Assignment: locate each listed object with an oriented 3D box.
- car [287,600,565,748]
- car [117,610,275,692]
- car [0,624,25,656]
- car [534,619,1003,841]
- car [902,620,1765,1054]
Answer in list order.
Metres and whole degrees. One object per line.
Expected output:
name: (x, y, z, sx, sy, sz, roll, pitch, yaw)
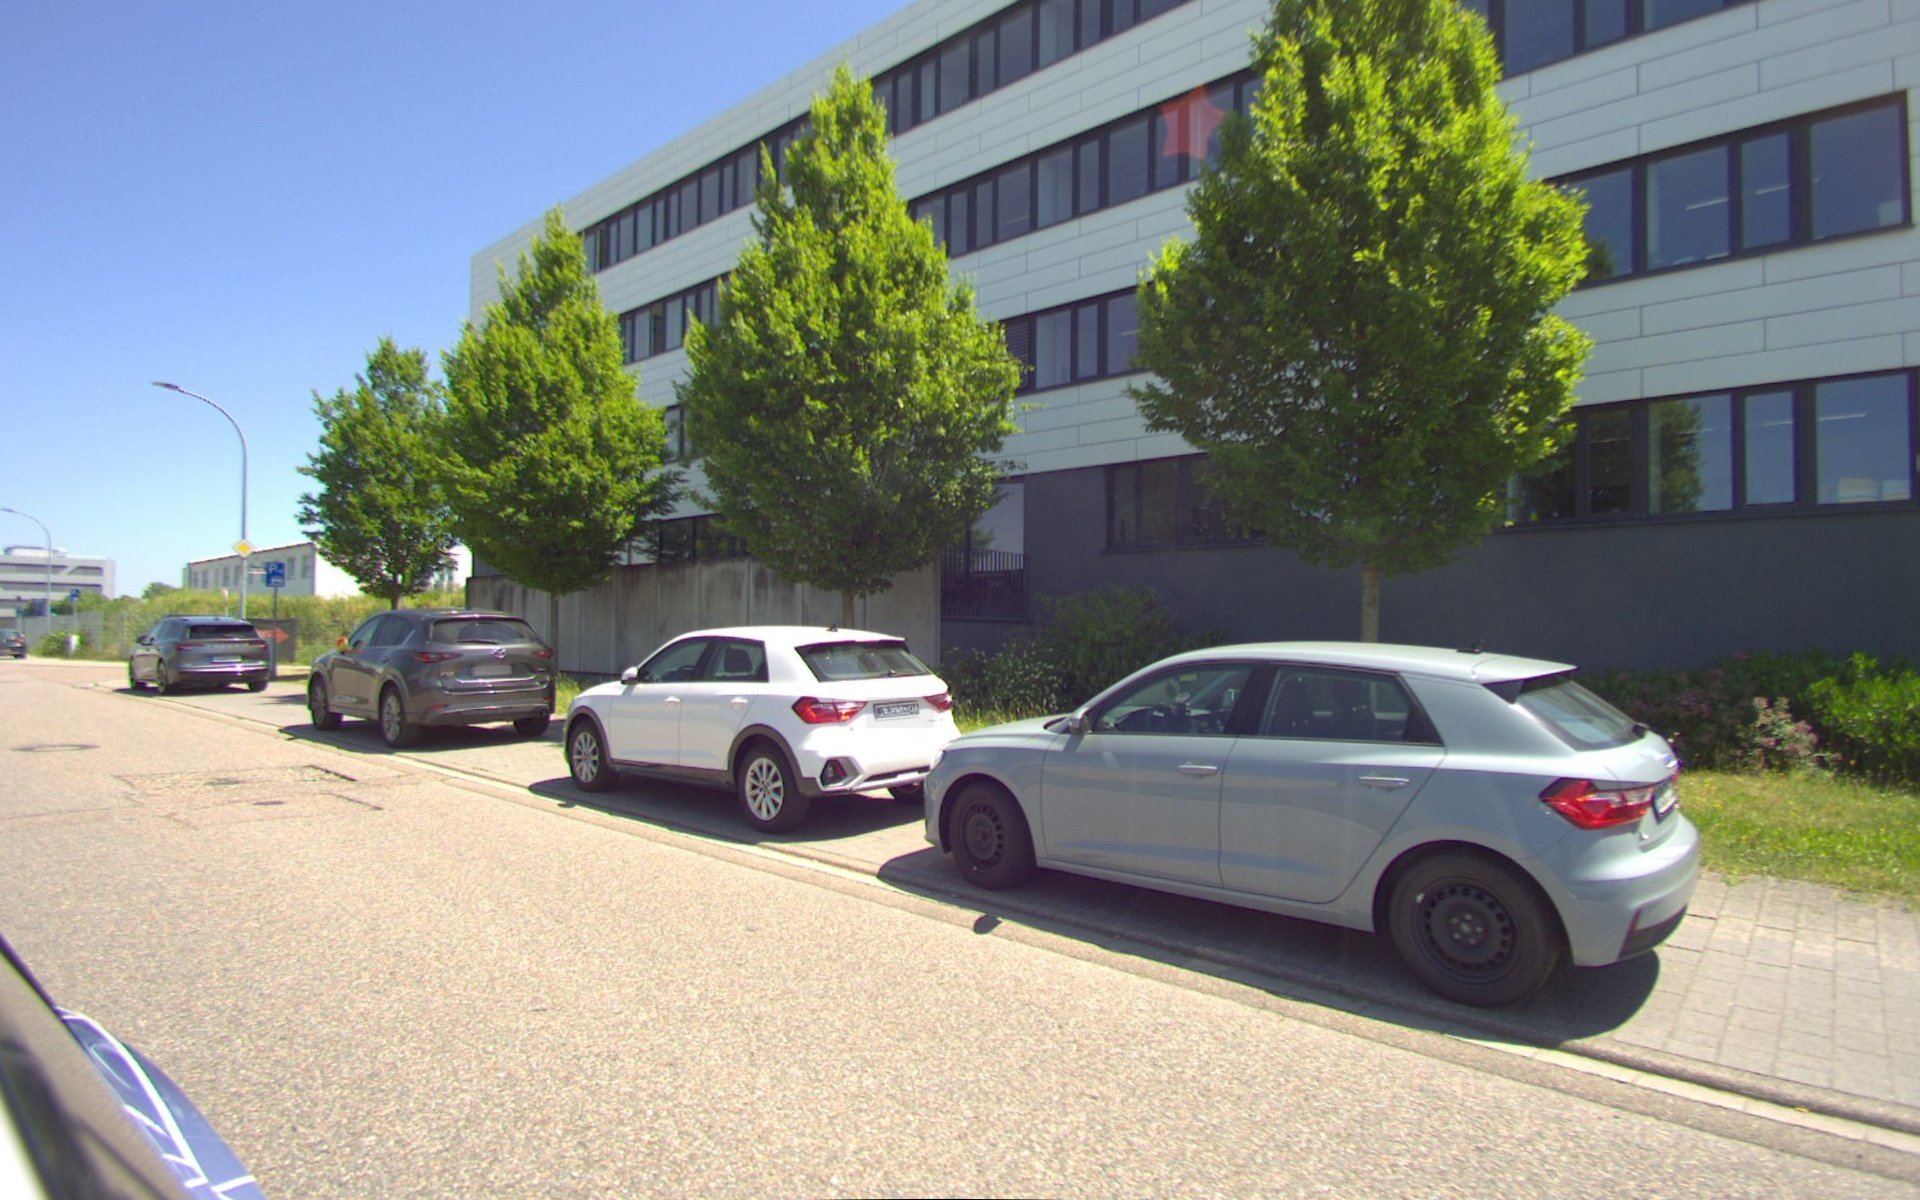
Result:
car: (-7.174, 0.863, 13.383, 4.580, 1.636, 1.752, -1, -2, 42)
car: (-16.671, 1.068, 22.014, 4.477, 1.600, 1.753, -2, -2, 40)
car: (-46.024, 1.891, 48.289, 4.067, 1.461, 1.656, -1, -2, 42)
car: (-1.807, 0.885, 8.661, 4.199, 1.442, 1.752, -1, -2, 42)
car: (1.700, 0.831, 5.365, 3.939, 1.442, 1.752, -1, -2, 42)
